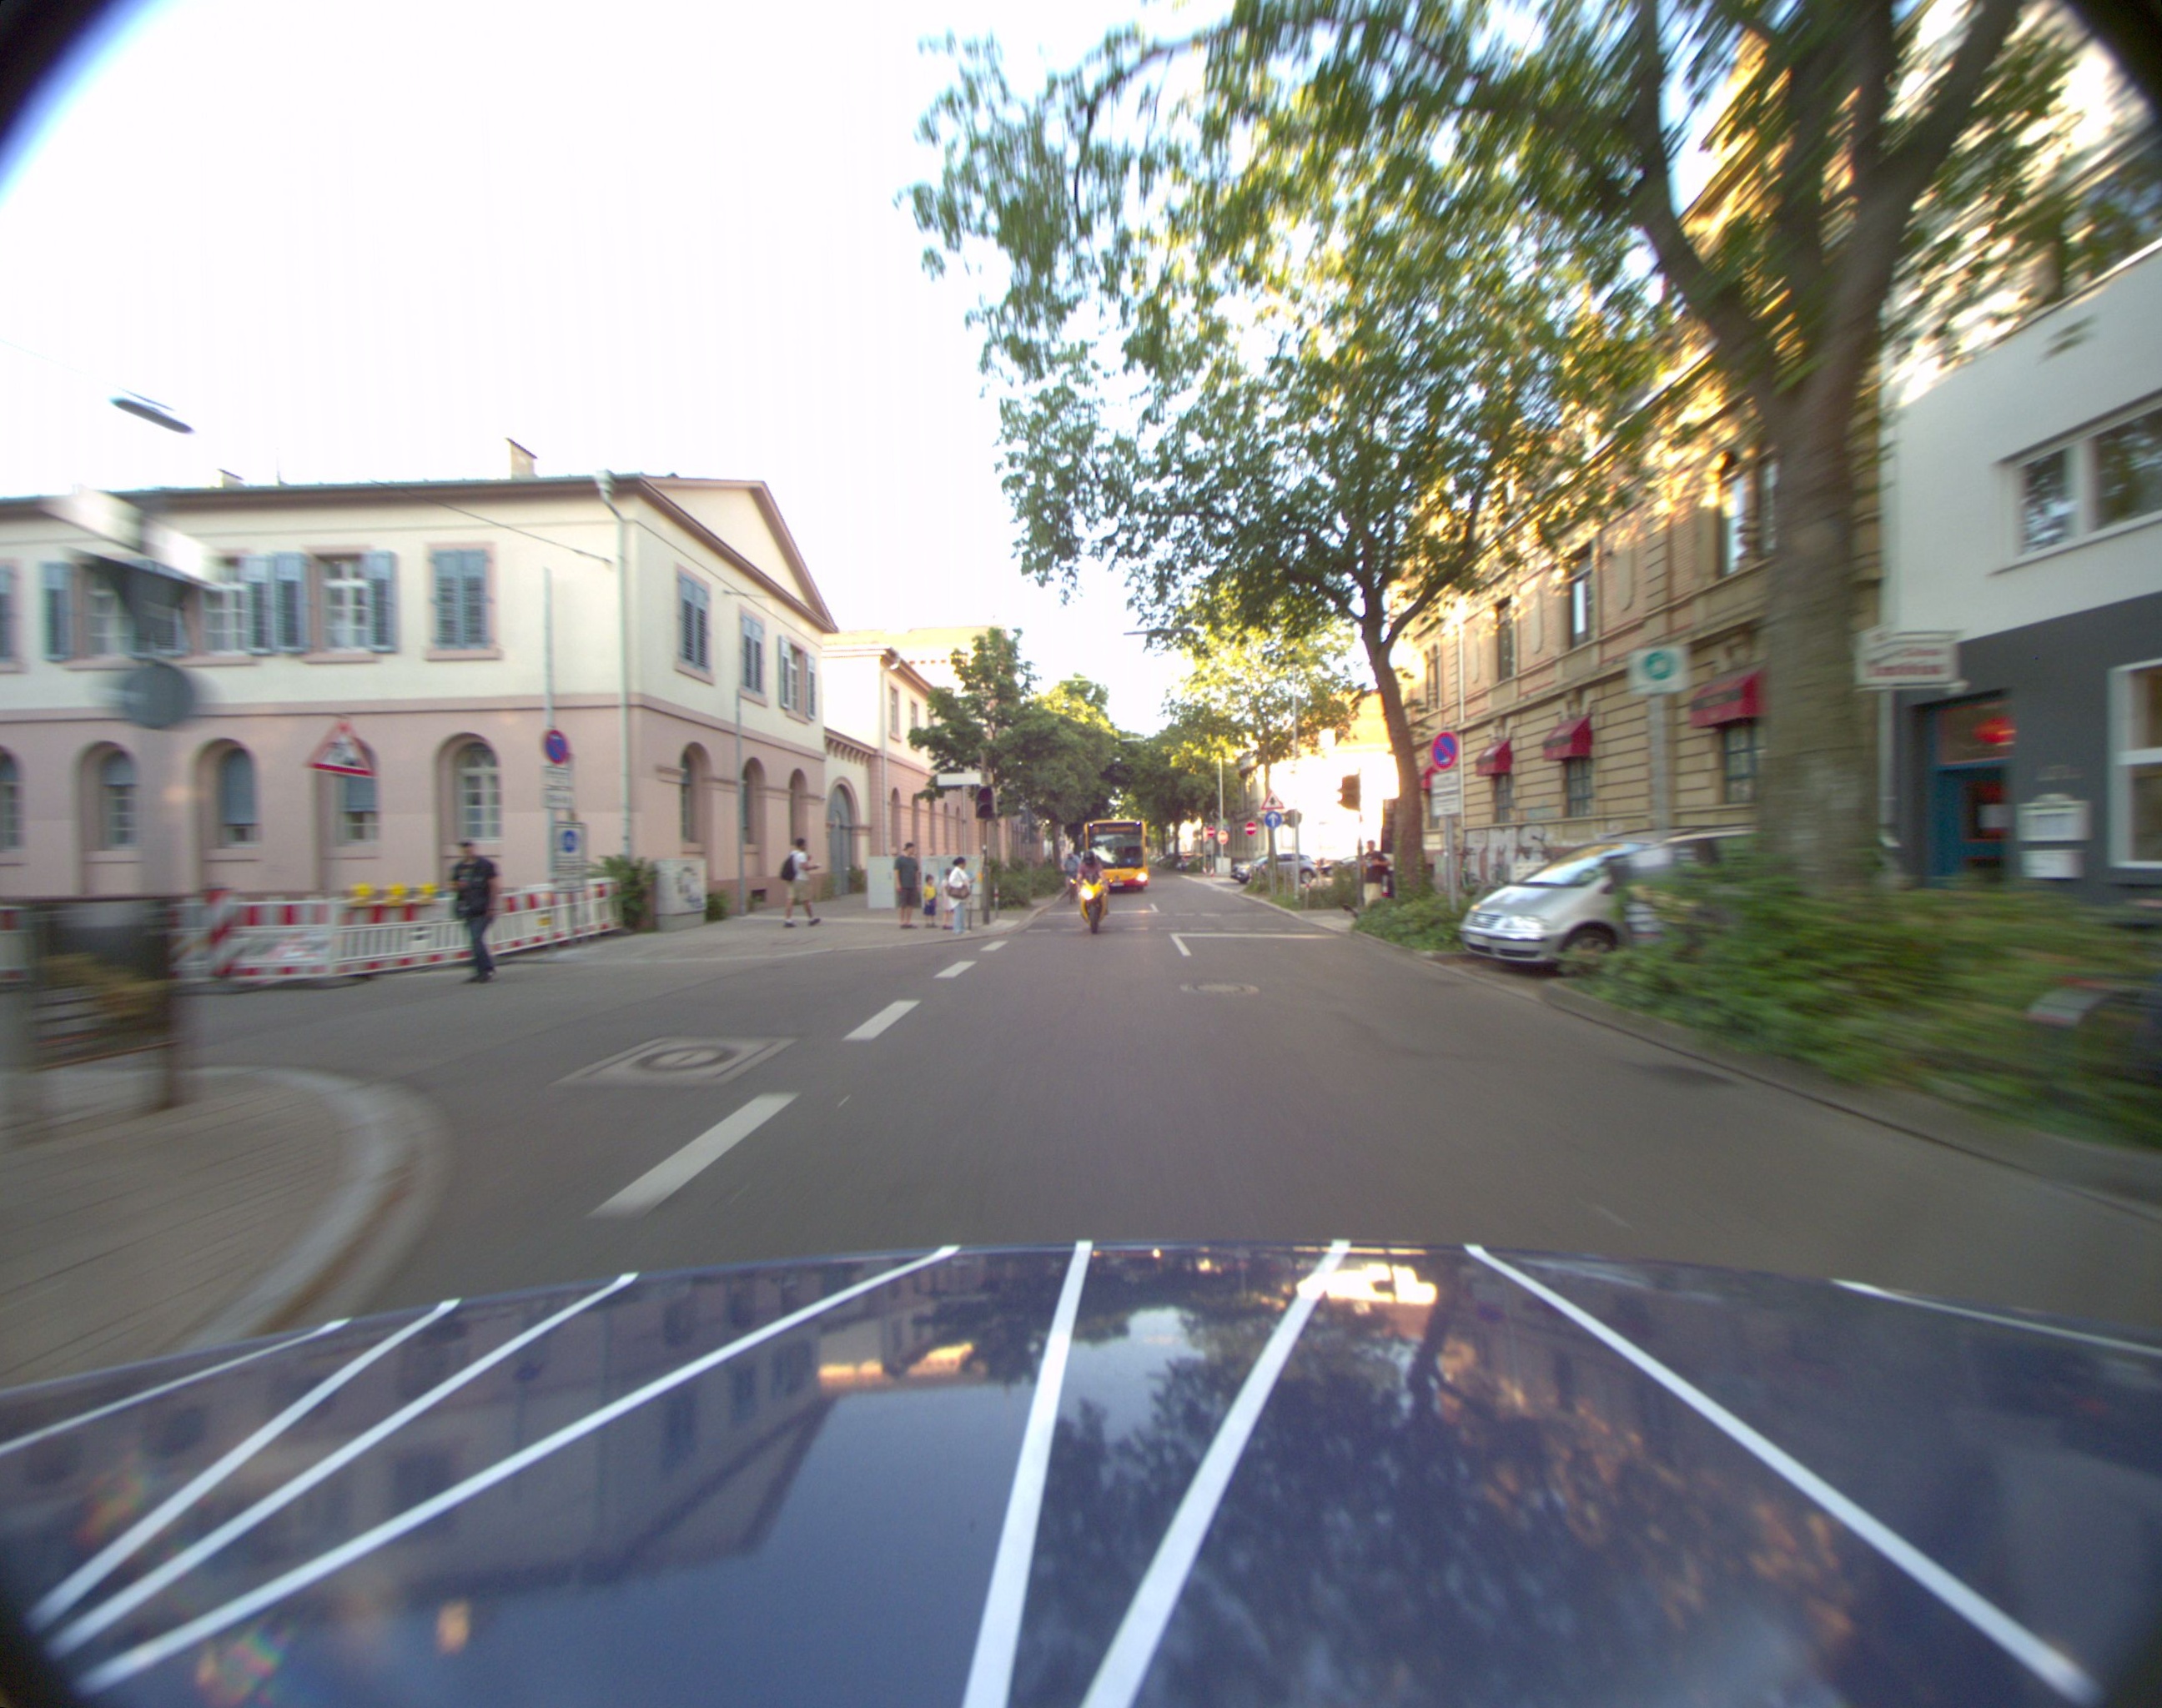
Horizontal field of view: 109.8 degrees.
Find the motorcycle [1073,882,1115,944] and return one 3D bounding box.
[{"bbox_3d":[0.256,1.125,15.020,0.737,1.053,1.964,-2,0,1],"label":"motorcycle"}]

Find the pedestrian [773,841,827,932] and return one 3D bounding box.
[{"bbox_3d":[-5.846,0.659,15.874,0.699,1.844,1.049,1,1,2],"label":"pedestrian"}]

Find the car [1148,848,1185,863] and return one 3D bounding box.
[{"bbox_3d":[10.008,0.203,88.836,3.999,1.699,1.844,-1,1,-5],"label":"car"}]

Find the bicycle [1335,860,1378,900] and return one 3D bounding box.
[{"bbox_3d":[8.044,0.735,22.273,0.500,1.101,1.799,-3,0,-2],"label":"bicycle"}]

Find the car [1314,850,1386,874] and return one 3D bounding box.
[{"bbox_3d":[17.835,0.537,50.409,4.260,1.521,1.836,0,1,27],"label":"car"}]

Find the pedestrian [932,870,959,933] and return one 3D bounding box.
[{"bbox_3d":[-2.785,0.968,15.637,0.451,1.254,0.490,1,1,-2],"label":"pedestrian"}]

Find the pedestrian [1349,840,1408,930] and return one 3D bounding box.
[{"bbox_3d":[6.088,0.610,15.552,0.833,1.767,0.764,-2,2,-35],"label":"pedestrian"}]

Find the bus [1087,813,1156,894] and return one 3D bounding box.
[{"bbox_3d":[1.927,-0.054,36.560,2.667,3.176,11.900,-2,0,3],"label":"bus"}]

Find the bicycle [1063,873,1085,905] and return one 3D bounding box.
[{"bbox_3d":[-0.222,1.194,26.445,0.637,0.977,1.981,-3,0,2],"label":"bicycle"}]

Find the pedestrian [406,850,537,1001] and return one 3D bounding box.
[{"bbox_3d":[-7.549,0.841,9.472,0.698,1.785,1.066,-1,1,4],"label":"pedestrian"}]

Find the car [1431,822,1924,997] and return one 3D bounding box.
[{"bbox_3d":[6.933,0.610,9.241,4.435,1.712,1.890,-3,1,1],"label":"car"}]

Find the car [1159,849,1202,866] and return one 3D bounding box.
[{"bbox_3d":[10.173,0.315,77.774,3.999,1.699,1.999,-1,1,-5],"label":"car"}]

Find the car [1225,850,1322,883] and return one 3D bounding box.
[{"bbox_3d":[9.822,0.631,38.907,4.361,1.561,1.945,-1,2,-12],"label":"car"}]

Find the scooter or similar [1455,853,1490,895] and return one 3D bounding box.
[{"bbox_3d":[11.581,0.589,22.518,0.385,1.191,1.274,-3,-1,4],"label":"scooter or similar"}]

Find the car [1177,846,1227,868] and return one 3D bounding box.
[{"bbox_3d":[10.774,0.250,67.909,3.999,1.940,1.999,-1,1,-5],"label":"car"}]

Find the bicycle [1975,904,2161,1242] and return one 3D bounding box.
[{"bbox_3d":[5.287,0.906,3.366,1.799,1.319,0.774,-1,1,-3],"label":"bicycle"}]

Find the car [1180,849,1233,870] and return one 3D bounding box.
[{"bbox_3d":[10.358,0.471,62.741,3.999,1.660,1.799,-1,1,-5],"label":"car"}]

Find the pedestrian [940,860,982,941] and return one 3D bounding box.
[{"bbox_3d":[-2.346,0.887,14.781,0.600,1.503,0.719,1,1,-25],"label":"pedestrian"}]

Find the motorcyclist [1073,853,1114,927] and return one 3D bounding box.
[{"bbox_3d":[0.248,0.698,15.021,0.737,1.404,0.726,-2,0,1],"label":"motorcyclist"}]

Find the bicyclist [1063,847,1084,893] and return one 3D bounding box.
[{"bbox_3d":[-0.250,0.536,26.424,0.637,1.552,0.819,-3,0,2],"label":"bicyclist"}]

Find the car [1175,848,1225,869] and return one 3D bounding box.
[{"bbox_3d":[10.221,0.378,65.459,3.999,1.801,1.799,-1,1,-5],"label":"car"}]

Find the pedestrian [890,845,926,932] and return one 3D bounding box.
[{"bbox_3d":[-3.613,0.704,15.875,0.544,1.764,0.576,1,1,5],"label":"pedestrian"}]

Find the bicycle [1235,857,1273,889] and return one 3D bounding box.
[{"bbox_3d":[6.996,0.753,30.637,0.805,1.217,2.422,-4,-2,27],"label":"bicycle"}]

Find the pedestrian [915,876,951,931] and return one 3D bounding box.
[{"bbox_3d":[-3.161,1.050,16.270,0.491,1.138,0.547,2,1,40],"label":"pedestrian"}]

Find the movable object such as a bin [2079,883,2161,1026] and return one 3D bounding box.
[{"bbox_3d":[8.593,0.776,5.593,0.776,1.055,1.317,-1,1,3],"label":"movable object such as a bin"}]
